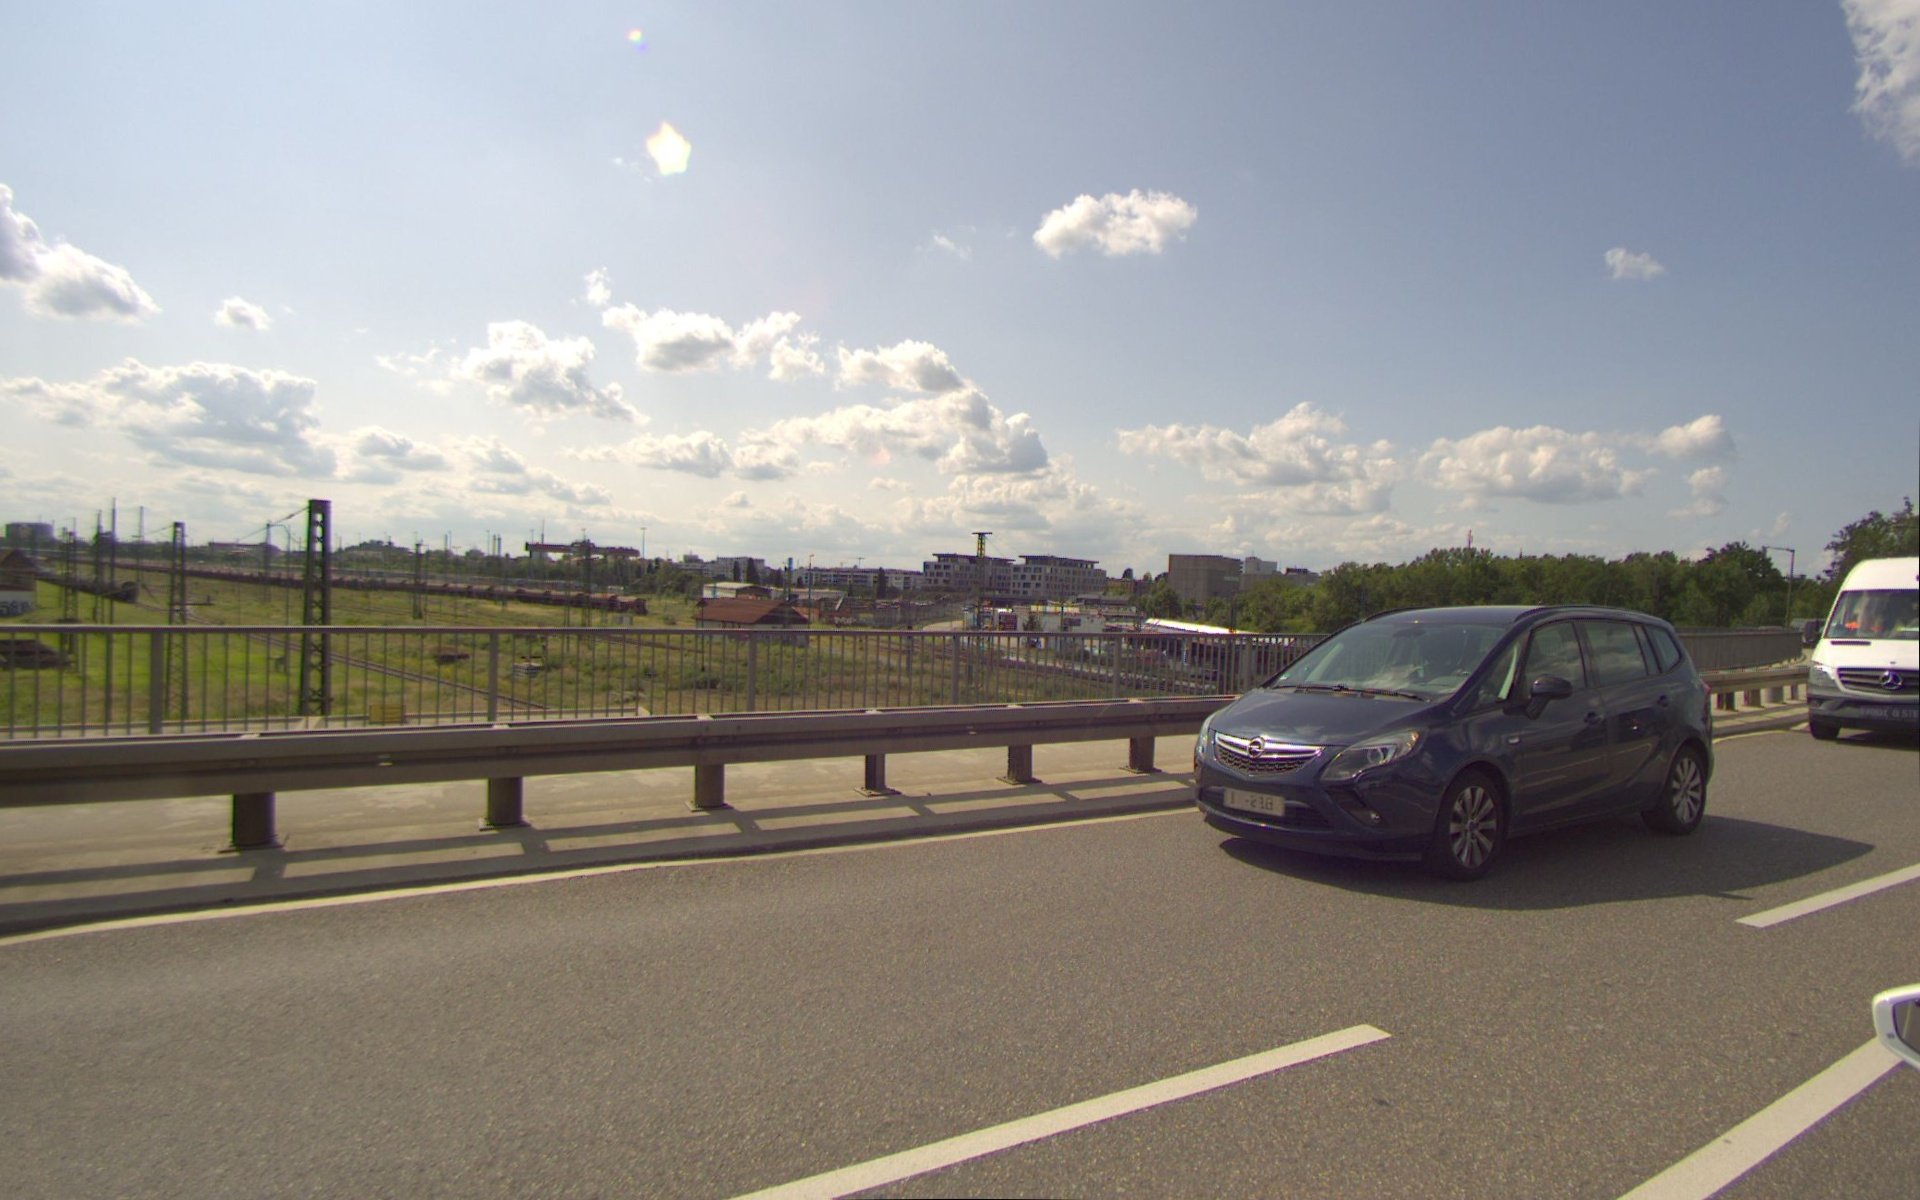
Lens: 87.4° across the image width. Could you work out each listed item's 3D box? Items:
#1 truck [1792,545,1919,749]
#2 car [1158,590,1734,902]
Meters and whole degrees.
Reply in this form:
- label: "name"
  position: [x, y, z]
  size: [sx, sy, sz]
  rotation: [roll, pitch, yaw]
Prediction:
- label: "truck"
  position: [14.155, 0.640, 14.576]
  size: [5.894, 2.541, 1.979]
  rotation: [1, -1, -38]
- label: "car"
  position: [3.641, 0.837, 7.252]
  size: [4.379, 1.653, 1.708]
  rotation: [2, -1, -32]
